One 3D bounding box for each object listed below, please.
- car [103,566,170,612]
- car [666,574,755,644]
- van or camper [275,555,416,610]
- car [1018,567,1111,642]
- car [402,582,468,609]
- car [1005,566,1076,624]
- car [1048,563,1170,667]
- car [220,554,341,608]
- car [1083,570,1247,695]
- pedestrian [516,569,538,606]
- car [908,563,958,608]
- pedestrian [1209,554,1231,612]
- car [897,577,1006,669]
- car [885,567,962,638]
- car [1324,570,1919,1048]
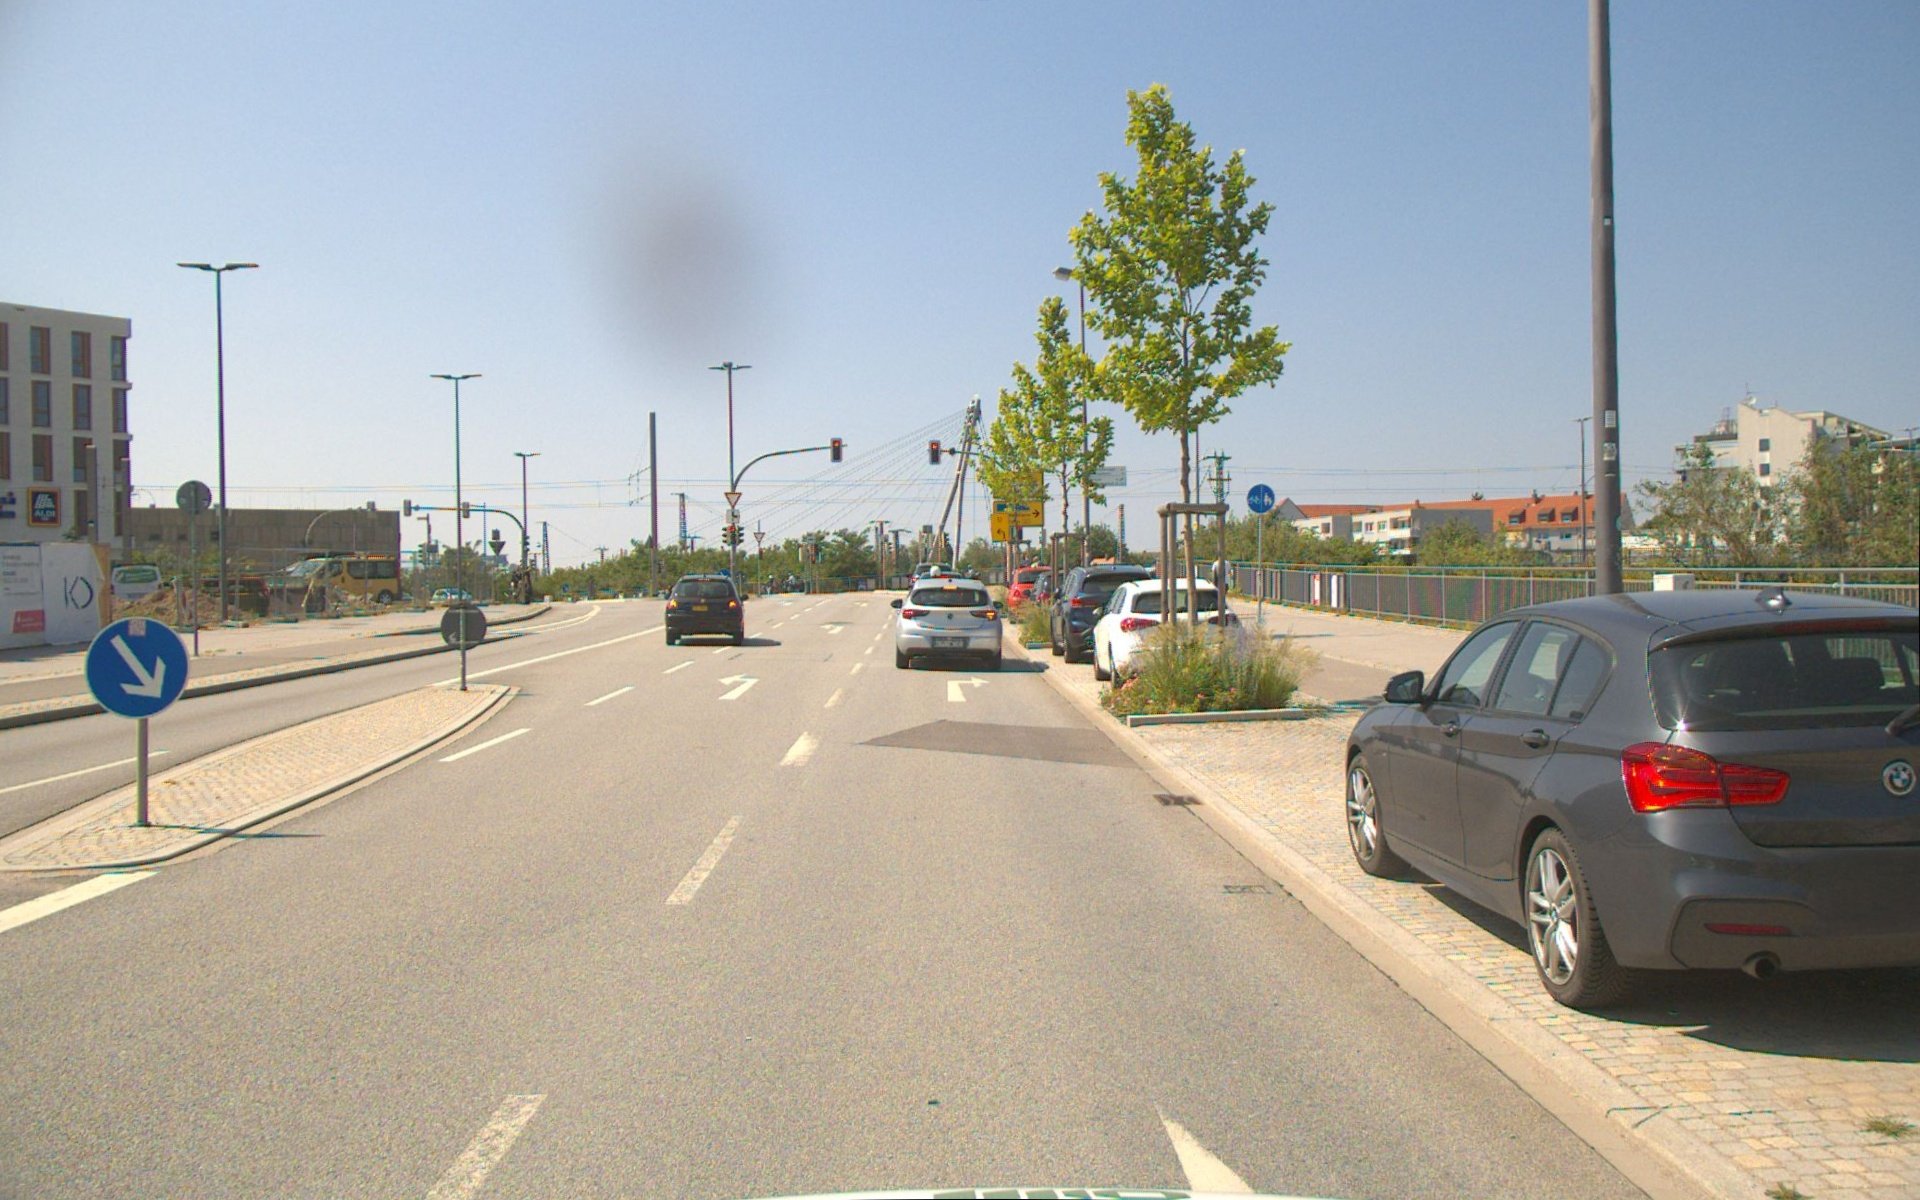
[{"bbox_3d":[-32.142,-0.435,64.514,2.006,1.701,4.552,0,1,-31],"label":"car"},{"bbox_3d":[-5.357,0.173,35.859,1.587,1.441,3.724,0,0,-4],"label":"car"},{"bbox_3d":[-23.464,-0.635,63.257,1.964,1.930,4.690,0,-1,41],"label":"van or camper"},{"bbox_3d":[2.405,0.086,38.947,1.742,1.529,3.999,-5,1,-1],"label":"car"},{"bbox_3d":[-36.500,-0.341,115.034,3.902,1.803,2.001,0,-1,12],"label":"car"},{"bbox_3d":[2.263,-0.156,47.587,1.742,1.530,3.999,-2,1,-1],"label":"car"},{"bbox_3d":[2.579,0.218,29.333,1.785,1.645,3.611,-2,1,0],"label":"car"},{"bbox_3d":[-26.730,-0.742,65.112,1.961,2.049,3.983,0,1,37],"label":"car"},{"bbox_3d":[2.731,0.387,22.827,1.662,1.501,4.205,-2,1,-1],"label":"car"},{"bbox_3d":[-19.534,-0.579,74.640,0.828,1.675,0.827,0,0,-6],"label":"pedestrian"},{"bbox_3d":[-1.005,-0.574,61.232,1.742,1.596,4.000,-1,1,-1],"label":"car"},{"bbox_3d":[7.174,-0.463,45.627,0.522,1.603,0.523,1,-1,-1],"label":"pedestrian"},{"bbox_3d":[-0.168,0.359,28.466,1.742,1.467,3.999,0,0,-1],"label":"car"},{"bbox_3d":[-0.871,0.022,40.121,1.742,1.596,4.000,-1,1,-1],"label":"car"},{"bbox_3d":[2.919,0.638,7.205,1.669,1.426,4.269,-2,0,0],"label":"car"}]
